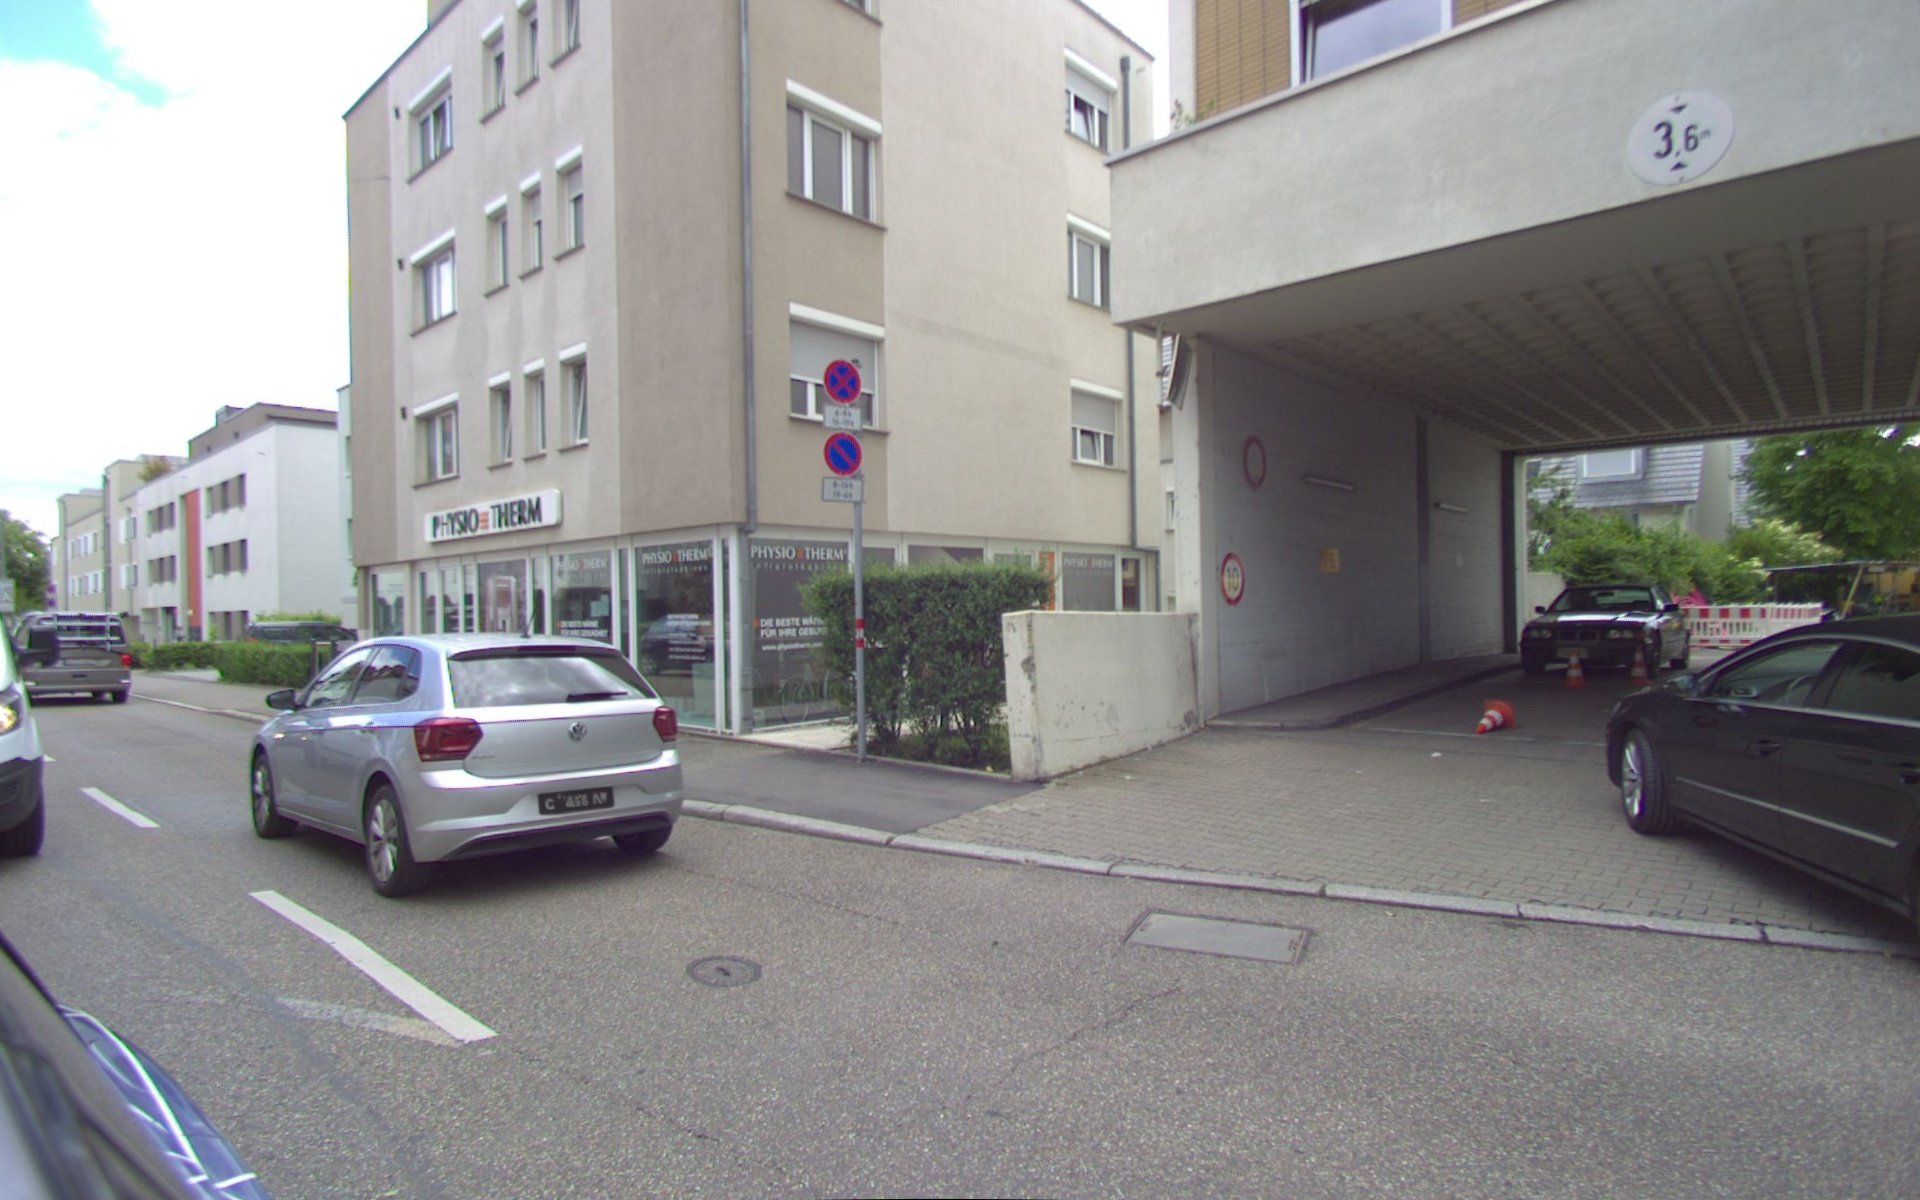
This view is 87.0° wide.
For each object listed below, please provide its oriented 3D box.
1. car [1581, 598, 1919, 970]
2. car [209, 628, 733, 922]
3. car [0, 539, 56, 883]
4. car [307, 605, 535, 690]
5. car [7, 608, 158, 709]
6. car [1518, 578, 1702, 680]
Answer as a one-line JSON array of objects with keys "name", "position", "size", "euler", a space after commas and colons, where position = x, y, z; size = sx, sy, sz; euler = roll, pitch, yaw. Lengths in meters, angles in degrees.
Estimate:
[{"name": "car", "position": [4.612, 0.708, 4.417], "size": [1.639, 1.409, 4.440], "euler": [-1, 0, 9]}, {"name": "car", "position": [-3.507, 0.929, 6.938], "size": [3.997, 1.428, 1.780], "euler": [-2, -3, 41]}, {"name": "car", "position": [-8.006, 0.710, 7.037], "size": [5.084, 2.013, 1.939], "euler": [-2, -1, 41]}, {"name": "car", "position": [-14.194, 1.178, 26.882], "size": [1.967, 2.013, 5.014], "euler": [-2, -1, 44]}, {"name": "car", "position": [-19.736, 1.259, 22.689], "size": [4.759, 2.013, 1.939], "euler": [-2, -3, 42]}, {"name": "car", "position": [9.946, 0.370, 15.332], "size": [1.624, 1.333, 4.391], "euler": [-1, 0, 42]}]
